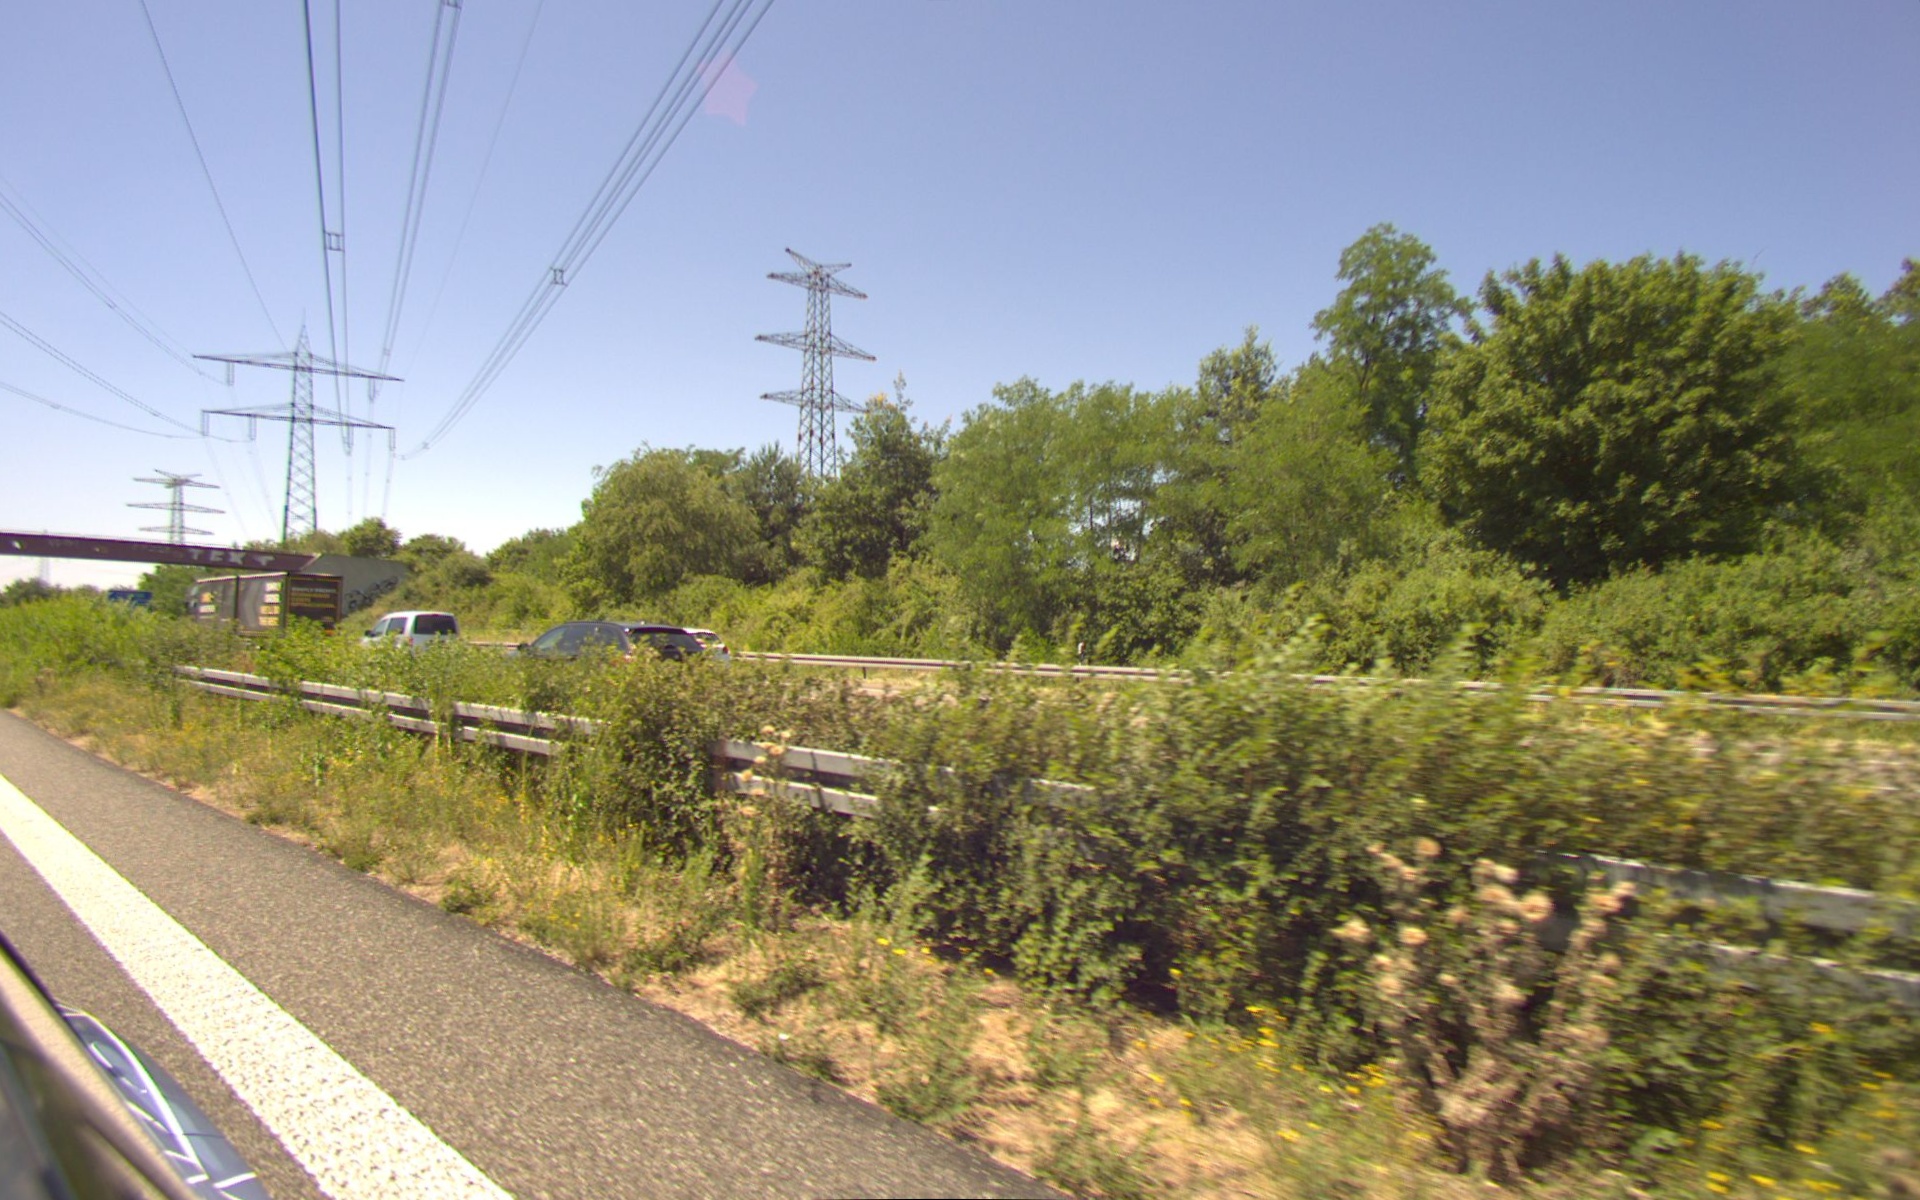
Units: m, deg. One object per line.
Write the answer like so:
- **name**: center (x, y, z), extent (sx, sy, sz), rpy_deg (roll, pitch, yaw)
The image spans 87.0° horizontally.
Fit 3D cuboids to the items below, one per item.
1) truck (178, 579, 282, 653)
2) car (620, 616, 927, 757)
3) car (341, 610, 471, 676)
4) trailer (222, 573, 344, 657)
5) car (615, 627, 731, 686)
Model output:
- **truck**: center (-43.962, 0.980, 60.795), extent (10.211, 4.153, 2.729), rpy_deg (-1, -2, 41)
- **car**: center (-2.629, 1.018, 13.638), extent (4.350, 1.584, 1.766), rpy_deg (-1, -1, 41)
- **car**: center (-17.016, 1.315, 31.005), extent (4.437, 1.876, 1.973), rpy_deg (-1, -4, 40)
- **trailer**: center (-36.276, 0.851, 54.029), extent (10.293, 4.127, 2.738), rpy_deg (-1, -3, 41)
- **car**: center (-8.279, 1.604, 29.116), extent (3.333, 1.564, 1.545), rpy_deg (-1, -4, 40)
